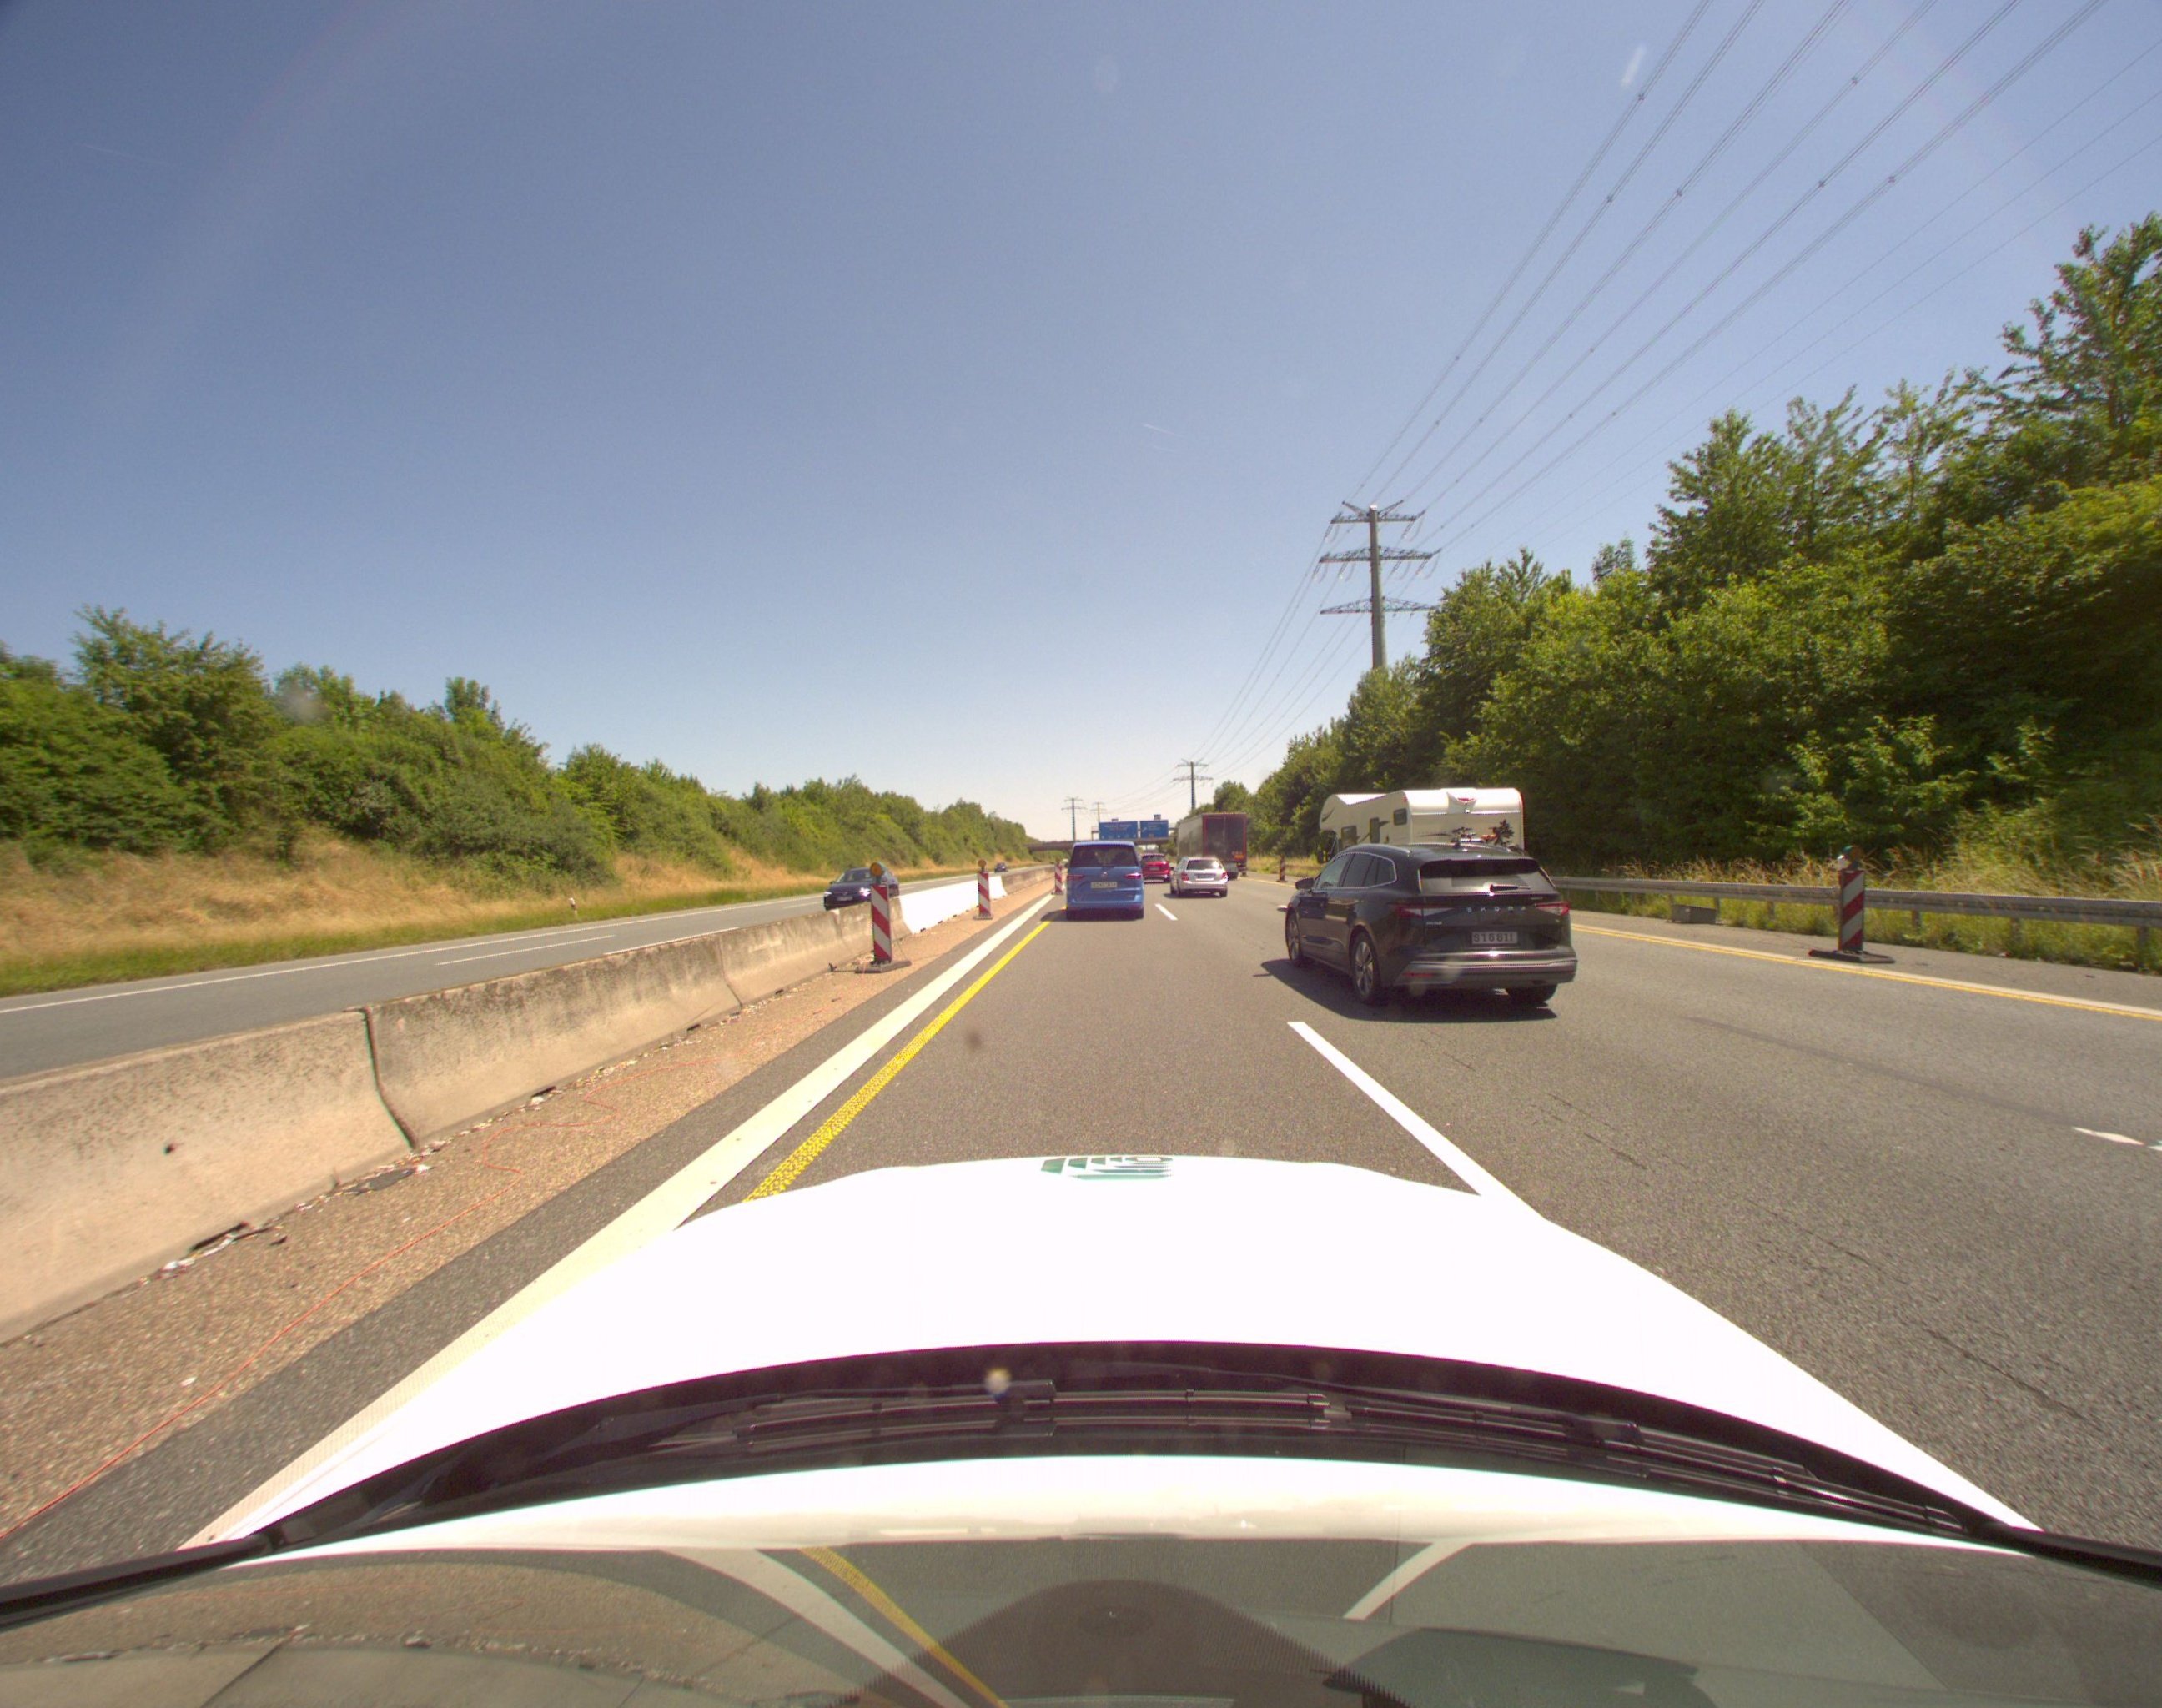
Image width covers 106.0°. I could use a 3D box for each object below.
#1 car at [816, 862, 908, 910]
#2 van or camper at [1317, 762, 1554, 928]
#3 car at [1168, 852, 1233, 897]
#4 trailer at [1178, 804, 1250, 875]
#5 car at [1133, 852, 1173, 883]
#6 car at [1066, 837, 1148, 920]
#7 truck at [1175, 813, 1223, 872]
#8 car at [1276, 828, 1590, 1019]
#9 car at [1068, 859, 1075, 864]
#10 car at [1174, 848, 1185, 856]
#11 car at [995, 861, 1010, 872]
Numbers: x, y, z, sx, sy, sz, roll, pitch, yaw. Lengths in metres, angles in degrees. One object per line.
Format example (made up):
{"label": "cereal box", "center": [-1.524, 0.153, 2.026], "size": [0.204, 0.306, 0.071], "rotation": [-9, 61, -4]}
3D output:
{"label": "car", "center": [-7.709, 1.076, 29.108], "size": [1.855, 1.490, 4.495], "rotation": [-3, 0, 2]}
{"label": "van or camper", "center": [7.629, -0.147, 18.810], "size": [2.360, 3.043, 7.635], "rotation": [0, 0, 2]}
{"label": "car", "center": [4.302, 0.717, 29.923], "size": [1.765, 1.517, 4.359], "rotation": [0, 0, 0]}
{"label": "trailer", "center": [8.413, -0.809, 53.317], "size": [2.773, 4.047, 13.113], "rotation": [0, 0, 1]}
{"label": "car", "center": [3.949, 0.736, 45.360], "size": [1.868, 1.671, 4.359], "rotation": [0, 0, 0]}
{"label": "car", "center": [0.619, 0.574, 20.984], "size": [1.868, 1.912, 4.359], "rotation": [0, 0, 0]}
{"label": "truck", "center": [8.506, -0.792, 59.513], "size": [2.724, 4.047, 5.793], "rotation": [0, 0, 1]}
{"label": "car", "center": [3.592, 0.619, 9.305], "size": [1.695, 1.655, 4.429], "rotation": [0, 0, 0]}
{"label": "car", "center": [-2.887, 2.475, 254.234], "size": [1.985, 1.398, 4.003], "rotation": [-3, 0, 3]}
{"label": "car", "center": [21.901, -0.381, 180.739], "size": [1.868, 1.671, 4.359], "rotation": [0, 0, 0]}
{"label": "car", "center": [-11.594, 1.848, 119.883], "size": [1.703, 1.464, 3.849], "rotation": [-3, 0, 0]}
